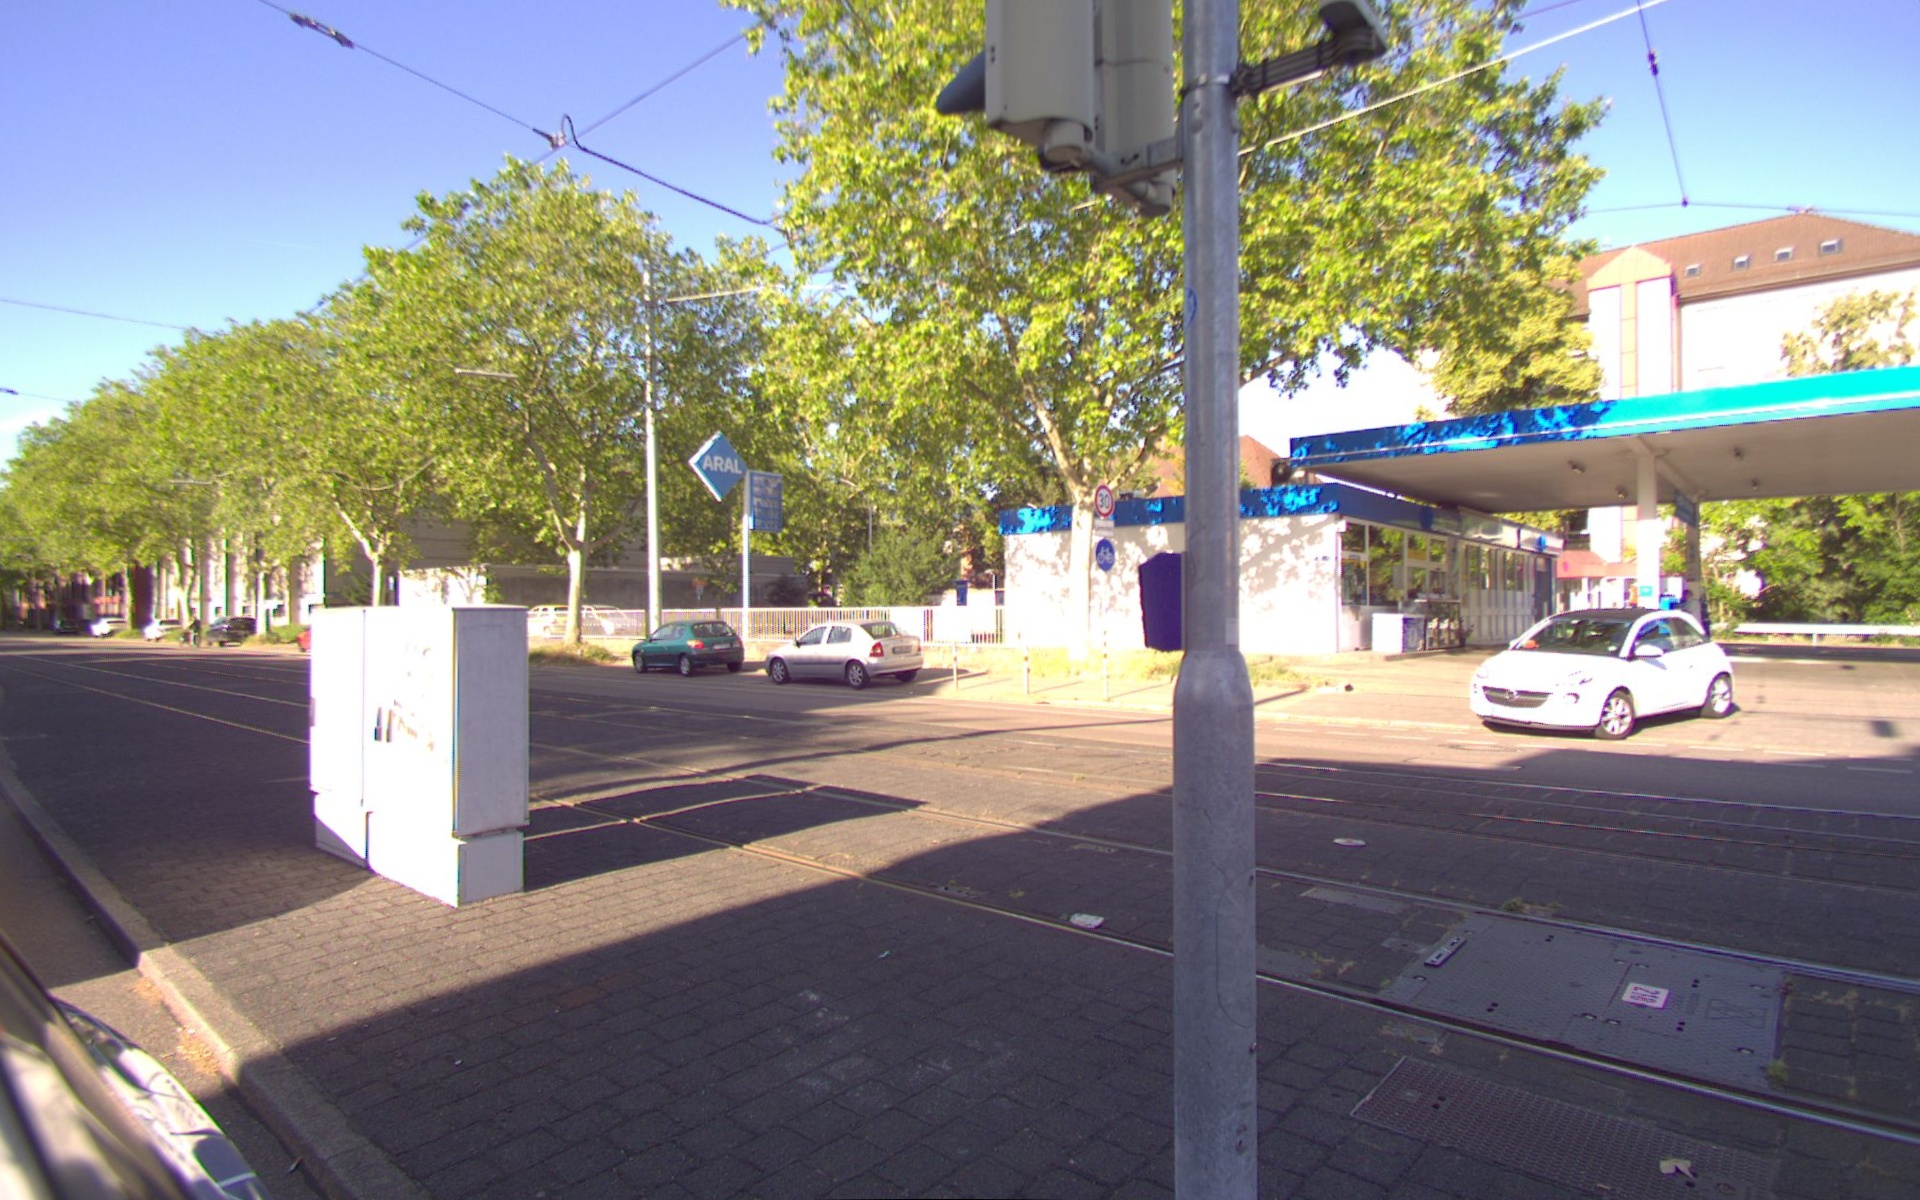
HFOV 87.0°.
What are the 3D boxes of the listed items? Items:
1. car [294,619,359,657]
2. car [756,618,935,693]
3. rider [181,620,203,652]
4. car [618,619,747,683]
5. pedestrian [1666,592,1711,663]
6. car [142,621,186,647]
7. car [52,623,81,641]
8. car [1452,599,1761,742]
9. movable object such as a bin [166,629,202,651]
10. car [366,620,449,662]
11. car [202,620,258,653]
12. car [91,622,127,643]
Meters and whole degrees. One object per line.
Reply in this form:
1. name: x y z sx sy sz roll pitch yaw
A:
1. car: -28.808 1.693 45.988 3.377 1.506 1.639 -1 2 43
2. car: -2.619 1.190 22.591 3.987 1.376 1.666 -2 3 41
3. rider: -40.493 1.874 53.358 1.105 1.660 0.716 -1 0 40
4. car: -7.412 1.302 26.913 3.606 1.455 1.598 -1 2 43
5. pedestrian: 17.976 0.680 24.981 0.847 1.715 0.640 -1 -3 40
6. car: -53.692 2.295 68.237 3.878 1.552 1.731 -1 2 43
7. car: -85.027 3.025 96.323 3.731 1.471 1.639 -1 2 43
8. car: 8.506 0.804 13.266 3.868 1.446 1.749 -3 2 -29
9. movable object such as a bin: -41.543 2.125 54.166 1.833 1.111 1.163 -1 0 40
10. car: -21.790 1.572 39.858 3.769 1.455 1.701 -1 2 43
11. car: -40.746 1.999 56.452 3.878 1.603 1.731 -1 2 43
12. car: -66.779 2.512 79.404 3.731 1.471 1.639 -1 2 43
